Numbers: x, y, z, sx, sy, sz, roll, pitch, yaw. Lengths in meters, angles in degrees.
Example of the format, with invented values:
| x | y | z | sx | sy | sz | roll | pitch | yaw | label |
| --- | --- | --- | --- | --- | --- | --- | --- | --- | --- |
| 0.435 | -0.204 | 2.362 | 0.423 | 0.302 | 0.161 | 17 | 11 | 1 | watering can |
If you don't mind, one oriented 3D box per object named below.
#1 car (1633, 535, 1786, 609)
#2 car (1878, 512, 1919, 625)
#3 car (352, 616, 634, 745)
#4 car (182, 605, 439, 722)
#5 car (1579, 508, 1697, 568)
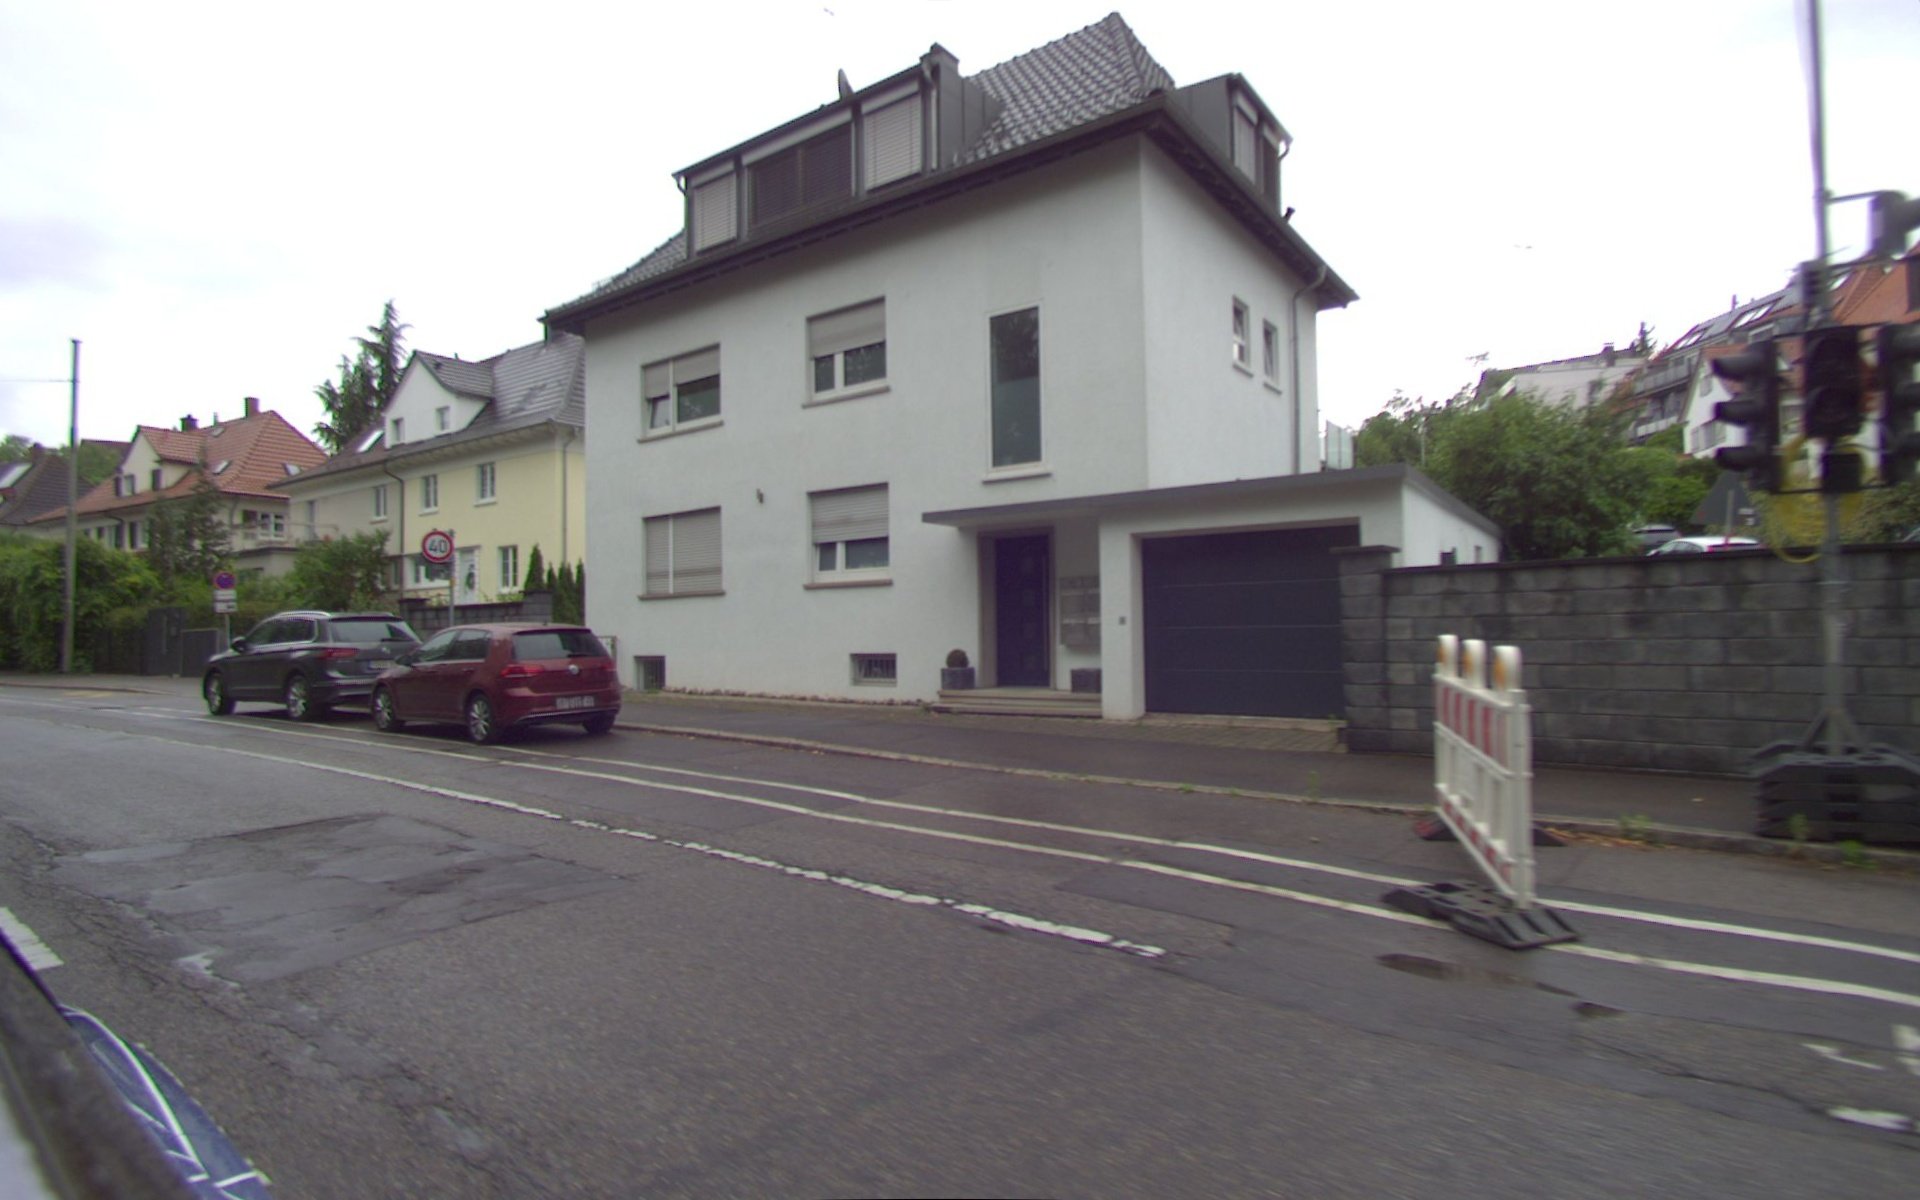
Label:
| x | y | z | sx | sy | sz | roll | pitch | yaw | label |
| --- | --- | --- | --- | --- | --- | --- | --- | --- | --- |
| 19.662 | -0.797 | 26.773 | 1.852 | 1.758 | 3.982 | 0 | 4 | 15 | car |
| 17.165 | -0.484 | 16.201 | 1.981 | 1.933 | 3.982 | 0 | 4 | 15 | car |
| -6.249 | 0.984 | 13.346 | 4.223 | 1.451 | 1.601 | -2 | -2 | 37 | car |
| -10.567 | 1.002 | 16.395 | 4.389 | 1.671 | 1.741 | -2 | -3 | 31 | car |
| 21.278 | -1.962 | 31.938 | 1.852 | 1.758 | 3.982 | 0 | 4 | 15 | car |
